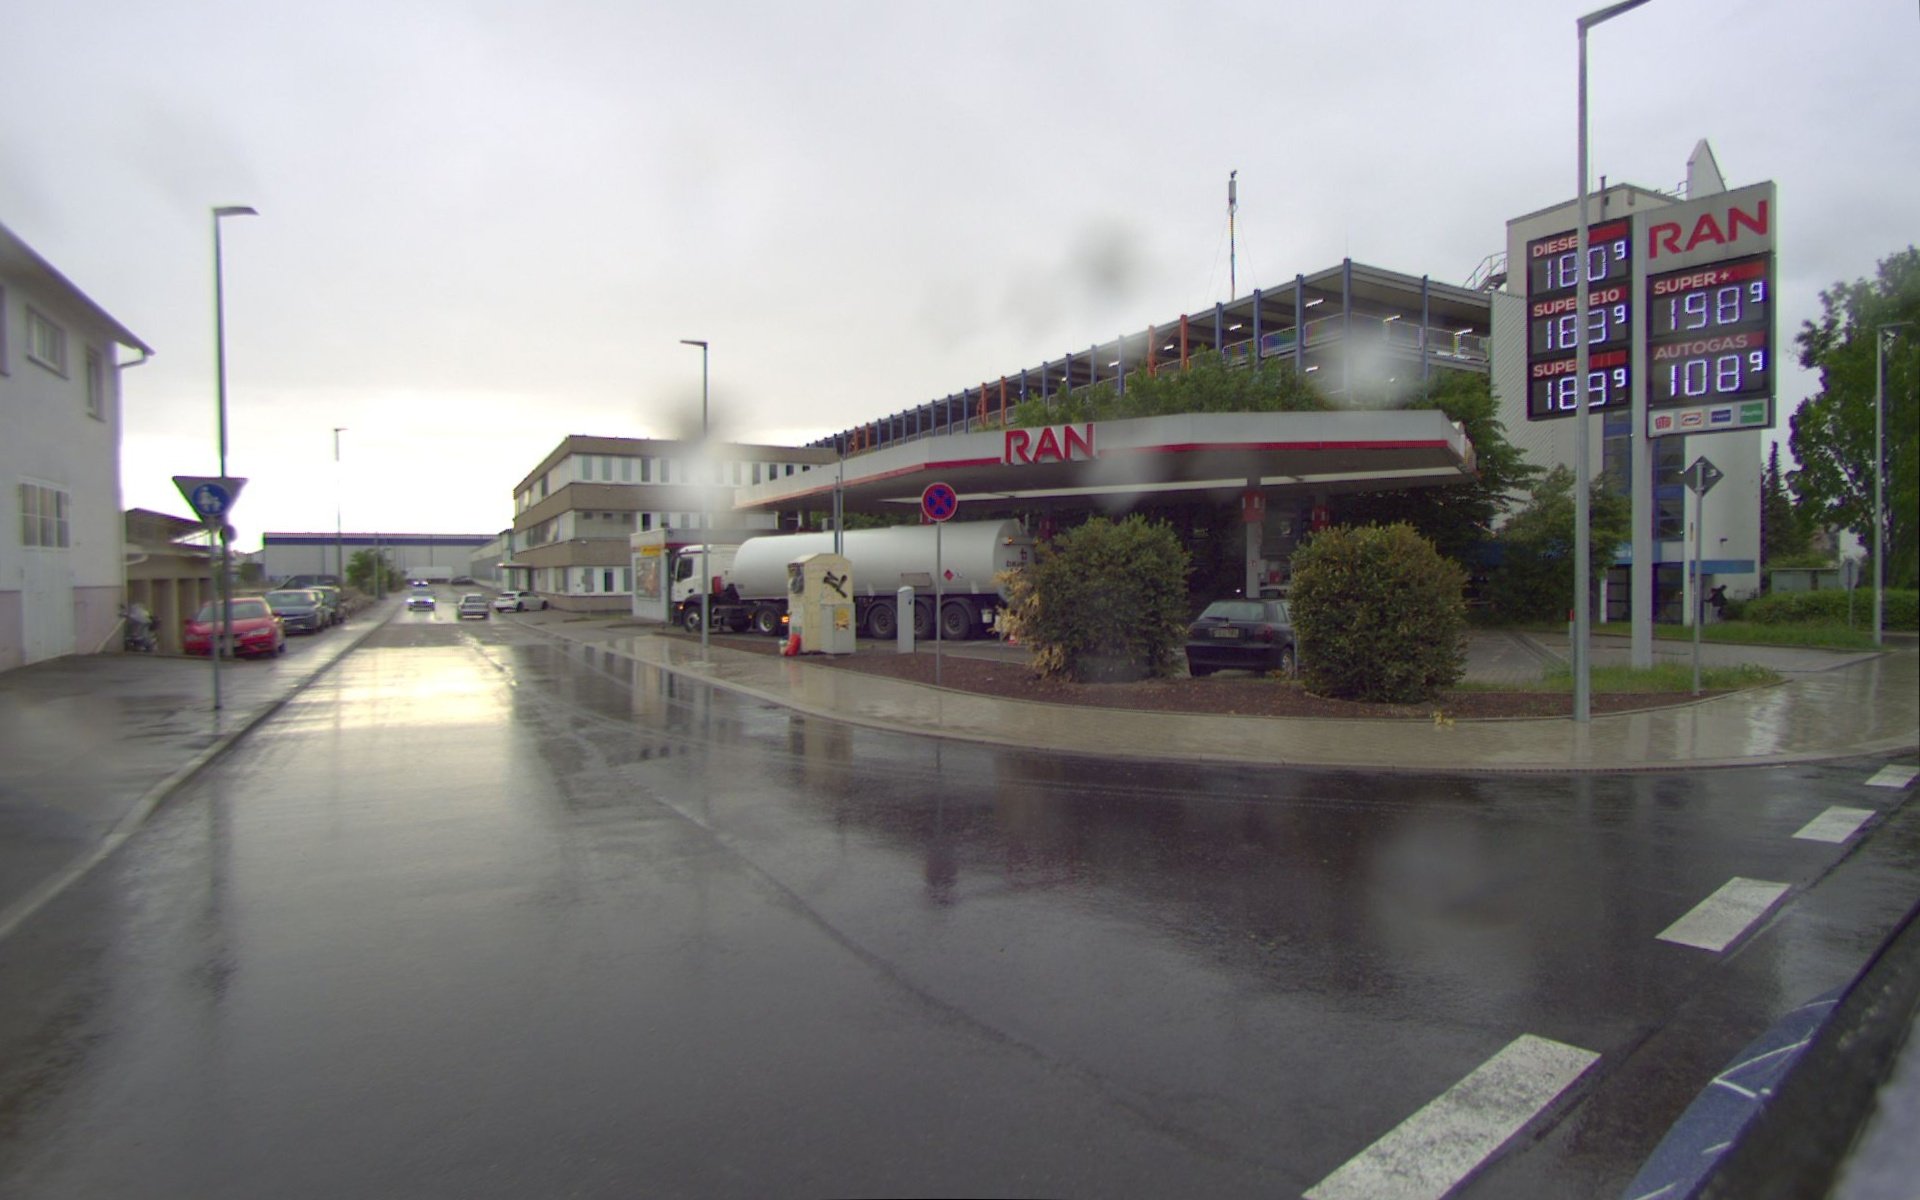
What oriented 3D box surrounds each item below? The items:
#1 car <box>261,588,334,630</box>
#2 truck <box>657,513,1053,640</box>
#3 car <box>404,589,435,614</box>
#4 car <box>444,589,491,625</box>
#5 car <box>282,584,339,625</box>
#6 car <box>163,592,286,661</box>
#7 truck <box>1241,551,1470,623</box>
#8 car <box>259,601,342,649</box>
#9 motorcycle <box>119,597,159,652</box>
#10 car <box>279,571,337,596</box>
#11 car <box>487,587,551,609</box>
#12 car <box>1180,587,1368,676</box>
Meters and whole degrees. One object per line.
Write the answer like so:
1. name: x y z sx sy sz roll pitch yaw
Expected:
1. car: -27.448 0.330 42.053 1.959 1.609 4.204 1 0 -26
2. truck: -3.936 -0.600 32.275 14.315 3.403 2.614 0 -2 35
3. car: -41.080 0.073 76.916 1.960 1.805 4.005 -1 1 -29
4. car: -29.538 0.385 60.650 1.962 2.039 4.000 -1 1 -35
5. car: -30.142 0.170 47.085 1.960 1.805 4.005 -1 1 -29
6. car: -17.526 0.560 24.305 1.960 1.393 4.264 0 1 -31
7. truck: 13.813 -0.538 35.869 7.280 2.234 2.051 3 0 45
8. car: -23.887 0.875 36.812 1.959 1.527 4.204 1 1 -26
9. motorcycle: -18.263 0.517 22.531 0.480 1.165 2.040 -1 1 -34
10. car: -64.052 -1.630 99.519 4.693 2.314 2.000 -1 -1 -33
11. car: -31.200 -0.153 71.787 1.968 1.456 4.536 0 1 11
12. car: 5.651 0.463 17.870 1.686 1.356 4.278 0 1 40
